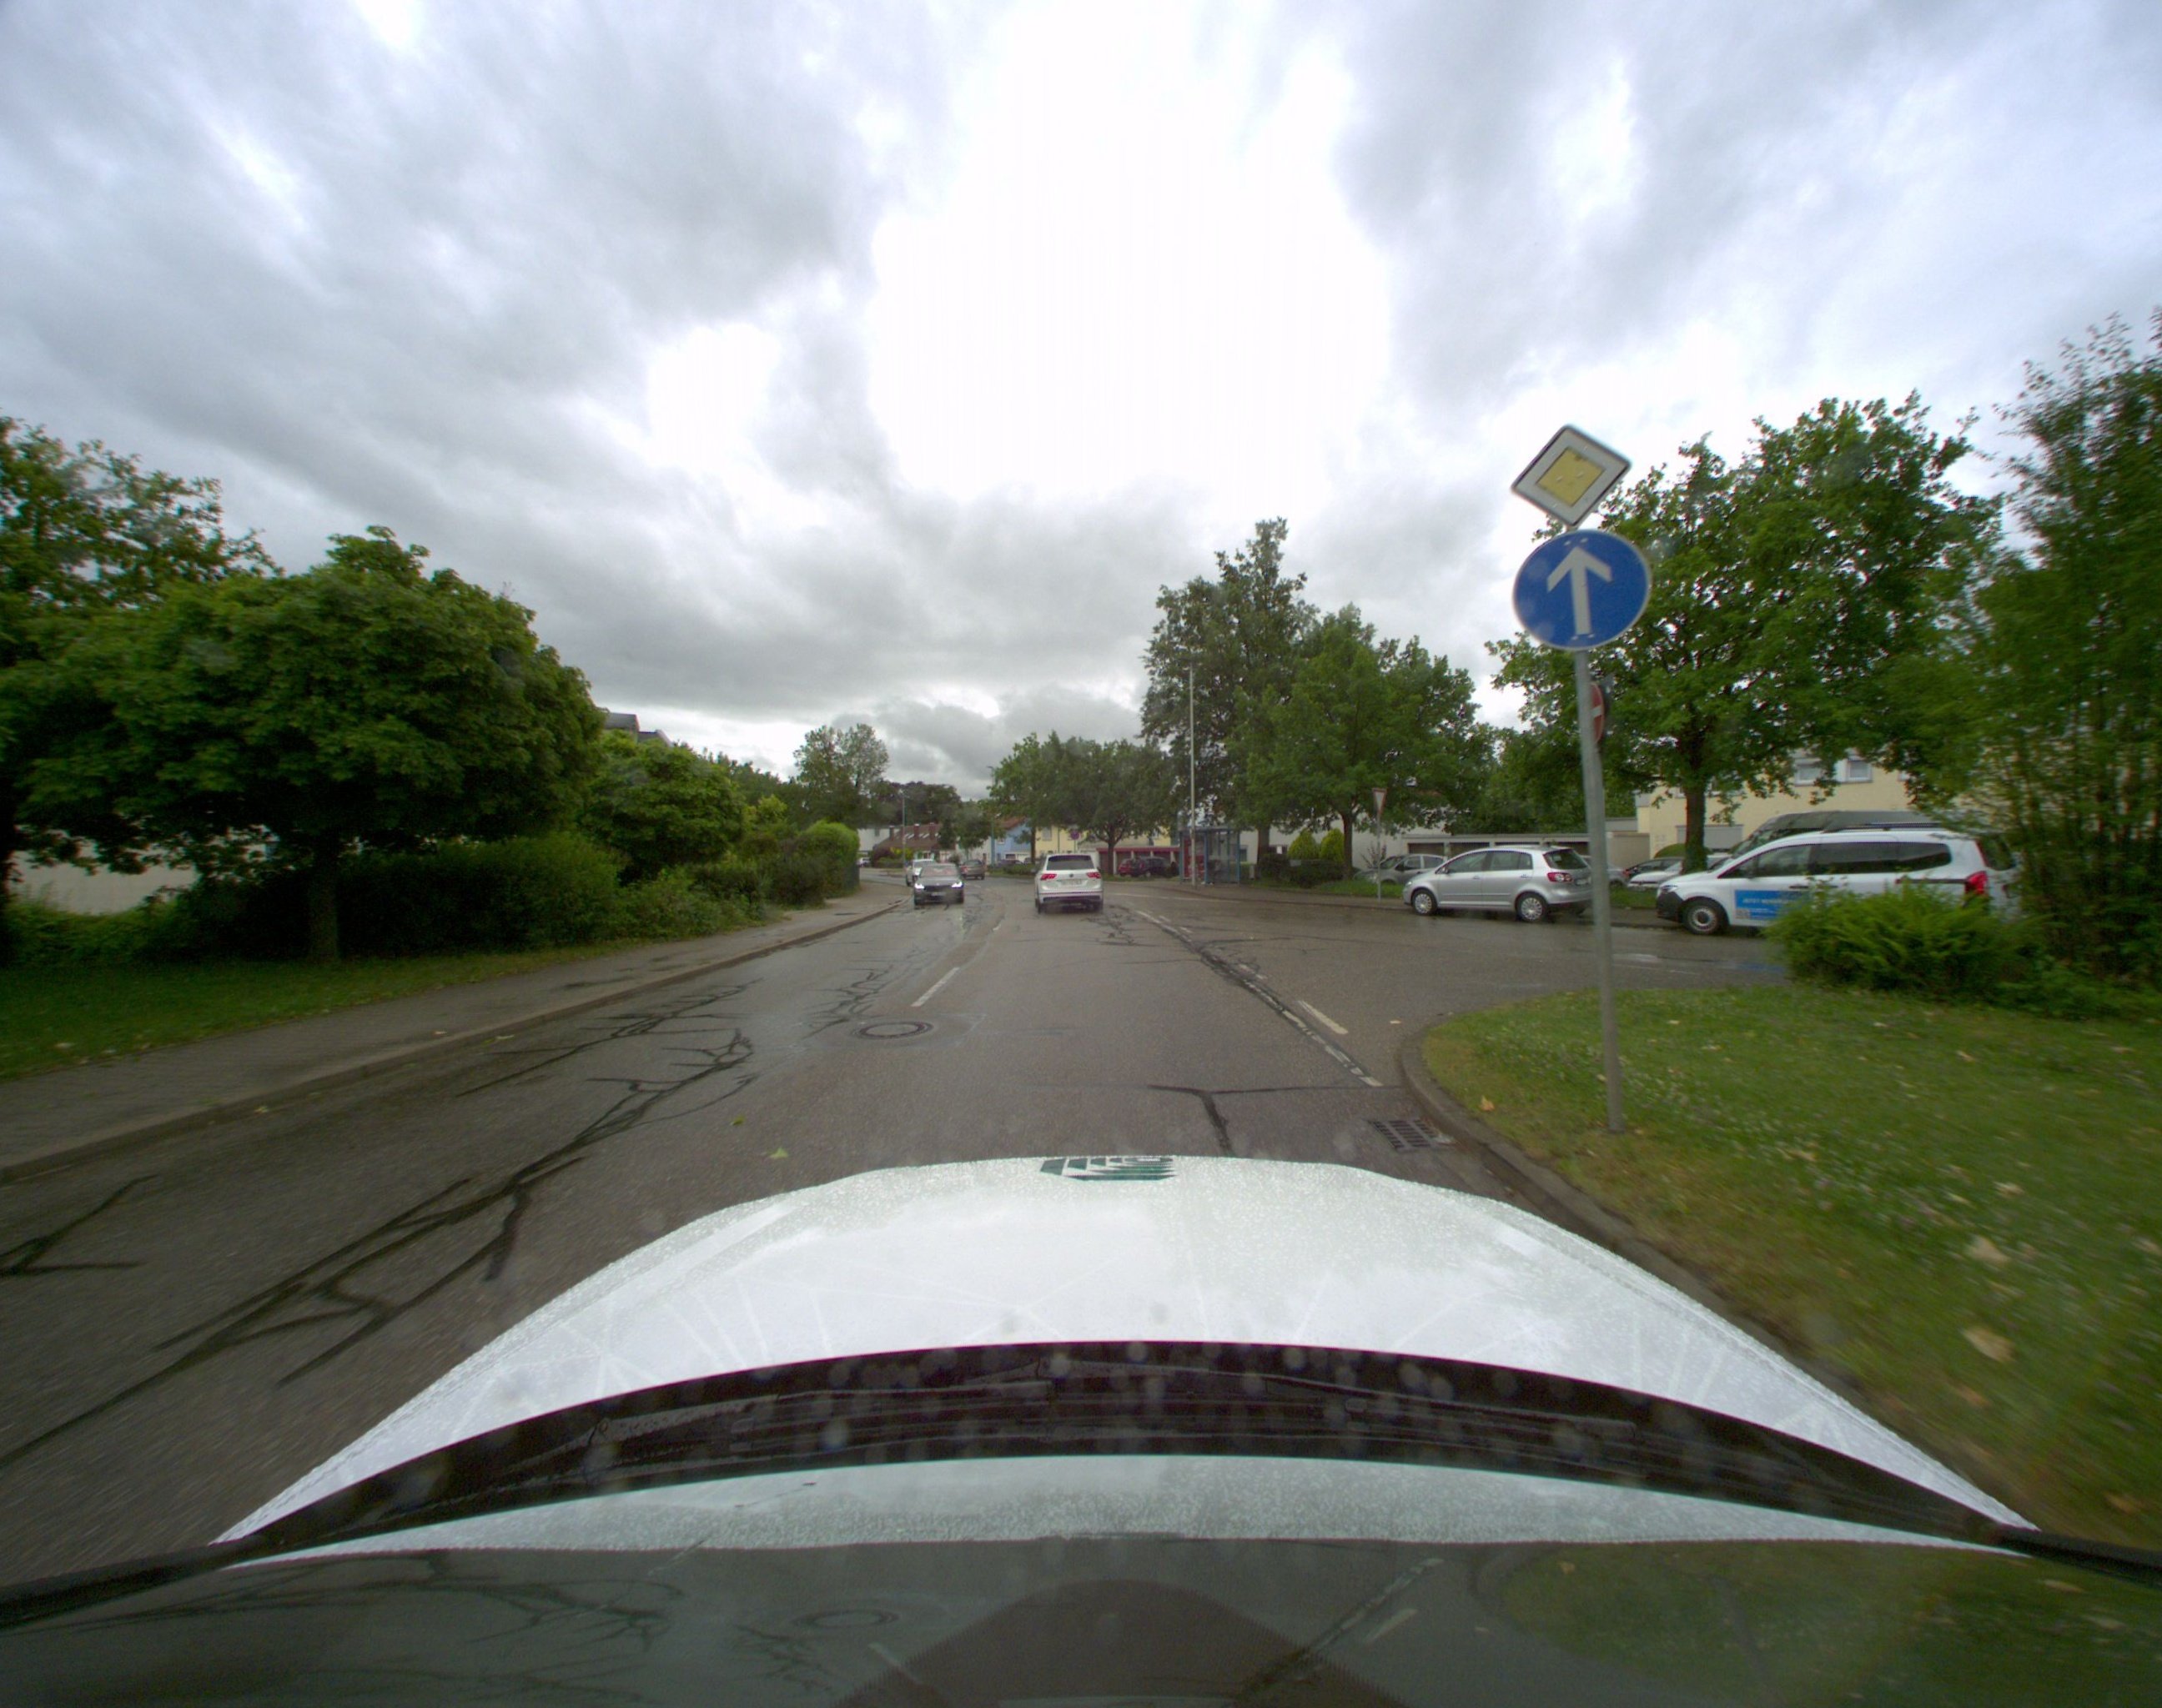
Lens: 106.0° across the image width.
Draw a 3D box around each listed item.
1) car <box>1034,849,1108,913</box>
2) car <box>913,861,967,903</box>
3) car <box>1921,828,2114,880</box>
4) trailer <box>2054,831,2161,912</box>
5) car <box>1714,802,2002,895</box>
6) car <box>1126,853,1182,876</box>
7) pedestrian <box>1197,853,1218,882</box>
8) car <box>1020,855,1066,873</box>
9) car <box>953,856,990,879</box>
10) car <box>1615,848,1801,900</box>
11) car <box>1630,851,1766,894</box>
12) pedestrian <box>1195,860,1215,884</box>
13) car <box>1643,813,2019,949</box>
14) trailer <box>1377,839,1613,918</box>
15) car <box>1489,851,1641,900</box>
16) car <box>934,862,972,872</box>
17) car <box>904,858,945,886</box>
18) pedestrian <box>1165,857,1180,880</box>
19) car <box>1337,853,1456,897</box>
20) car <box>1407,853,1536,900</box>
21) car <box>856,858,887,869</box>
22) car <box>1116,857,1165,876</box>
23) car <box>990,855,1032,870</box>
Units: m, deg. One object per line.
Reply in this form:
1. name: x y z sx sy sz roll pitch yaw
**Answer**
1. car: -0.379 0.719 23.708 1.862 1.650 3.993 -2 0 -5
2. car: -5.368 1.011 30.660 1.742 1.414 4.123 -1 0 -13
3. car: 29.468 0.020 25.755 1.699 1.510 3.788 0 0 -32
4. trailer: 21.157 0.277 15.159 3.972 1.437 1.713 -1 0 2
5. car: 18.937 -0.151 19.941 5.819 2.013 1.994 -2 0 -10
6. car: 5.700 0.788 63.320 4.017 1.721 1.903 -1 0 -35
7. pedestrian: 5.413 0.575 34.856 0.726 1.250 0.550 -1 0 -8
8. car: -3.605 0.952 77.556 4.214 1.672 1.701 2 -2 -41
9. car: -8.002 0.965 59.284 1.776 1.551 3.970 -1 0 -22
10. car: 17.232 0.511 22.465 3.986 1.296 1.846 -1 0 -9
11. car: 23.393 0.678 30.999 1.699 1.510 3.788 0 0 -32
12. pedestrian: 5.422 0.773 35.676 0.748 1.011 0.550 -1 0 -8
13. car: 12.179 0.381 13.555 2.006 1.881 4.173 -1 0 -29
14. trailer: 9.242 0.498 18.563 2.007 1.543 4.380 -1 0 -33
15. car: 14.770 0.622 24.893 4.038 1.337 1.724 -1 0 -16
16. car: -15.194 1.541 96.808 4.341 1.261 1.659 1 -1 -44
17. car: -9.833 1.088 50.904 1.895 1.611 4.836 1 0 -18
18. pedestrian: 6.531 1.025 57.999 0.669 1.558 0.832 -1 0 -39
19. car: 11.405 0.727 29.521 3.646 1.486 1.754 -1 0 -10
20. car: 13.202 0.734 27.614 3.647 1.486 1.753 -1 0 -11
21. car: -31.129 1.397 120.891 4.017 1.442 1.827 -1 0 -35
22. car: 4.824 0.977 65.939 3.720 1.442 1.688 -1 0 -35
23. car: -7.151 0.855 83.319 4.018 1.387 1.656 0 0 -37
